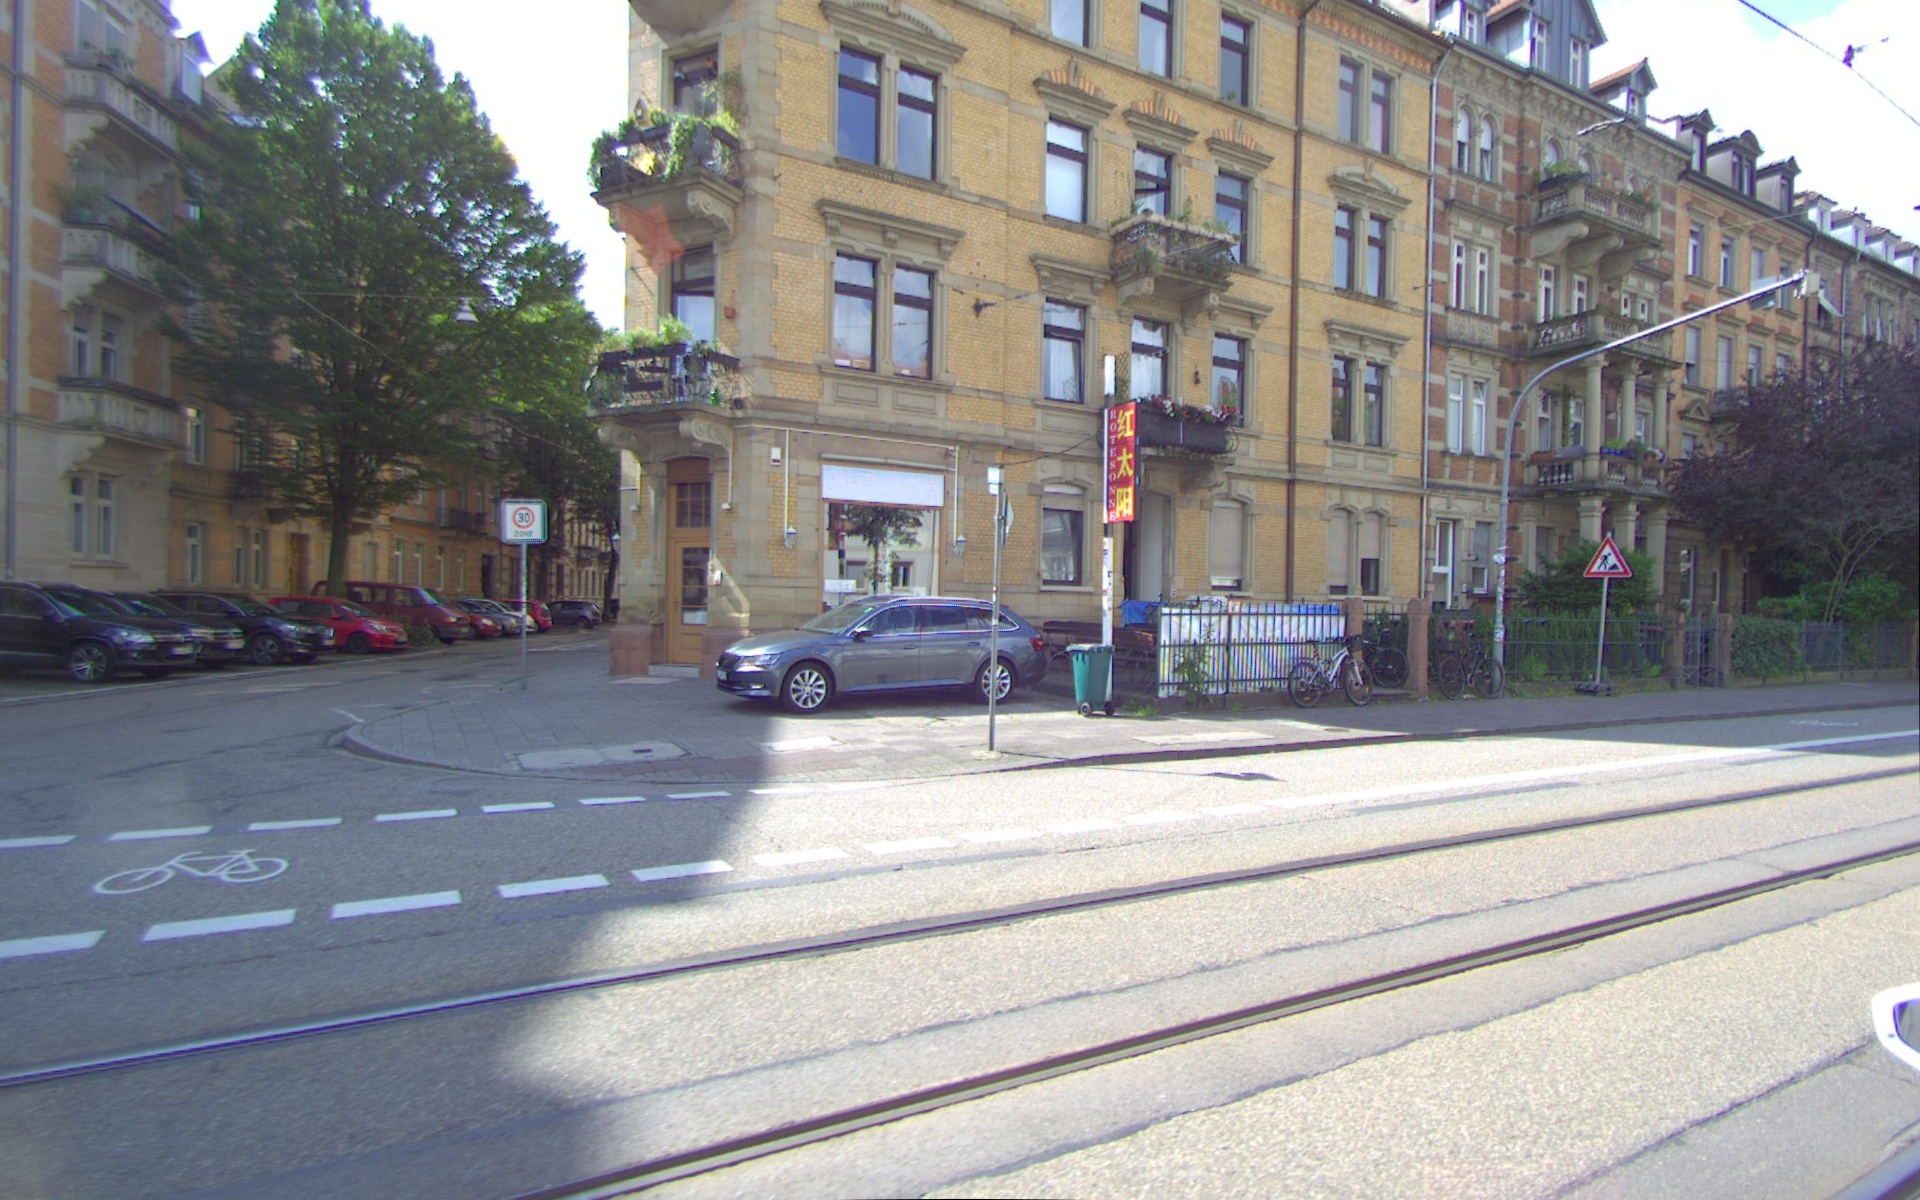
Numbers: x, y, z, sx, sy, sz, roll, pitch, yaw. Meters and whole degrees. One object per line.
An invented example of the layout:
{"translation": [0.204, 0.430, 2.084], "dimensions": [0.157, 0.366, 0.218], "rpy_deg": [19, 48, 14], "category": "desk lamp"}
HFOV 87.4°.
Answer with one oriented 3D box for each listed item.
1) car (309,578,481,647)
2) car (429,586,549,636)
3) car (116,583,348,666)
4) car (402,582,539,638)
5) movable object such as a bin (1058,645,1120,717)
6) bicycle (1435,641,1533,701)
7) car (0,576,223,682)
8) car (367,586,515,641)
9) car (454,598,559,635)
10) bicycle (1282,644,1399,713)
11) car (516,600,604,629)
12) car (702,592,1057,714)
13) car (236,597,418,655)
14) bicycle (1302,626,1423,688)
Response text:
{"translation": [-18.208, 0.407, 32.570], "dimensions": [4.429, 2.092, 1.895], "rpy_deg": [1, 0, -7], "category": "car"}
{"translation": [-19.847, 0.472, 42.464], "dimensions": [4.110, 1.864, 1.895], "rpy_deg": [3, 0, -7], "category": "car"}
{"translation": [-16.375, 0.550, 22.751], "dimensions": [3.926, 1.744, 1.618], "rpy_deg": [1, 0, -7], "category": "car"}
{"translation": [-19.412, 0.401, 39.995], "dimensions": [4.429, 1.998, 1.895], "rpy_deg": [3, 0, -7], "category": "car"}
{"translation": [1.731, 1.072, 13.521], "dimensions": [0.629, 0.918, 0.522], "rpy_deg": [1, 0, -31], "category": "movable object such as a bin"}
{"translation": [8.937, 1.181, 17.110], "dimensions": [1.945, 0.959, 0.527], "rpy_deg": [1, 0, -30], "category": "bicycle"}
{"translation": [-15.613, 0.491, 17.667], "dimensions": [3.926, 1.744, 1.618], "rpy_deg": [1, 0, -7], "category": "car"}
{"translation": [-19.240, 0.508, 37.430], "dimensions": [4.429, 1.807, 1.895], "rpy_deg": [3, 0, -7], "category": "car"}
{"translation": [-20.113, 0.730, 44.637], "dimensions": [3.926, 1.535, 1.618], "rpy_deg": [1, 0, -7], "category": "car"}
{"translation": [5.741, 1.159, 15.117], "dimensions": [1.945, 0.959, 0.527], "rpy_deg": [1, 0, -30], "category": "bicycle"}
{"translation": [-20.707, 0.760, 52.081], "dimensions": [3.926, 1.442, 1.618], "rpy_deg": [1, 0, -7], "category": "car"}
{"translation": [-1.045, 0.688, 14.076], "dimensions": [4.708, 1.478, 1.677], "rpy_deg": [1, 0, -30], "category": "car"}
{"translation": [-17.512, 0.704, 27.938], "dimensions": [3.926, 1.517, 1.618], "rpy_deg": [1, 0, -7], "category": "car"}
{"translation": [6.844, 0.944, 17.176], "dimensions": [0.526, 0.959, 1.949], "rpy_deg": [1, 0, -34], "category": "bicycle"}
